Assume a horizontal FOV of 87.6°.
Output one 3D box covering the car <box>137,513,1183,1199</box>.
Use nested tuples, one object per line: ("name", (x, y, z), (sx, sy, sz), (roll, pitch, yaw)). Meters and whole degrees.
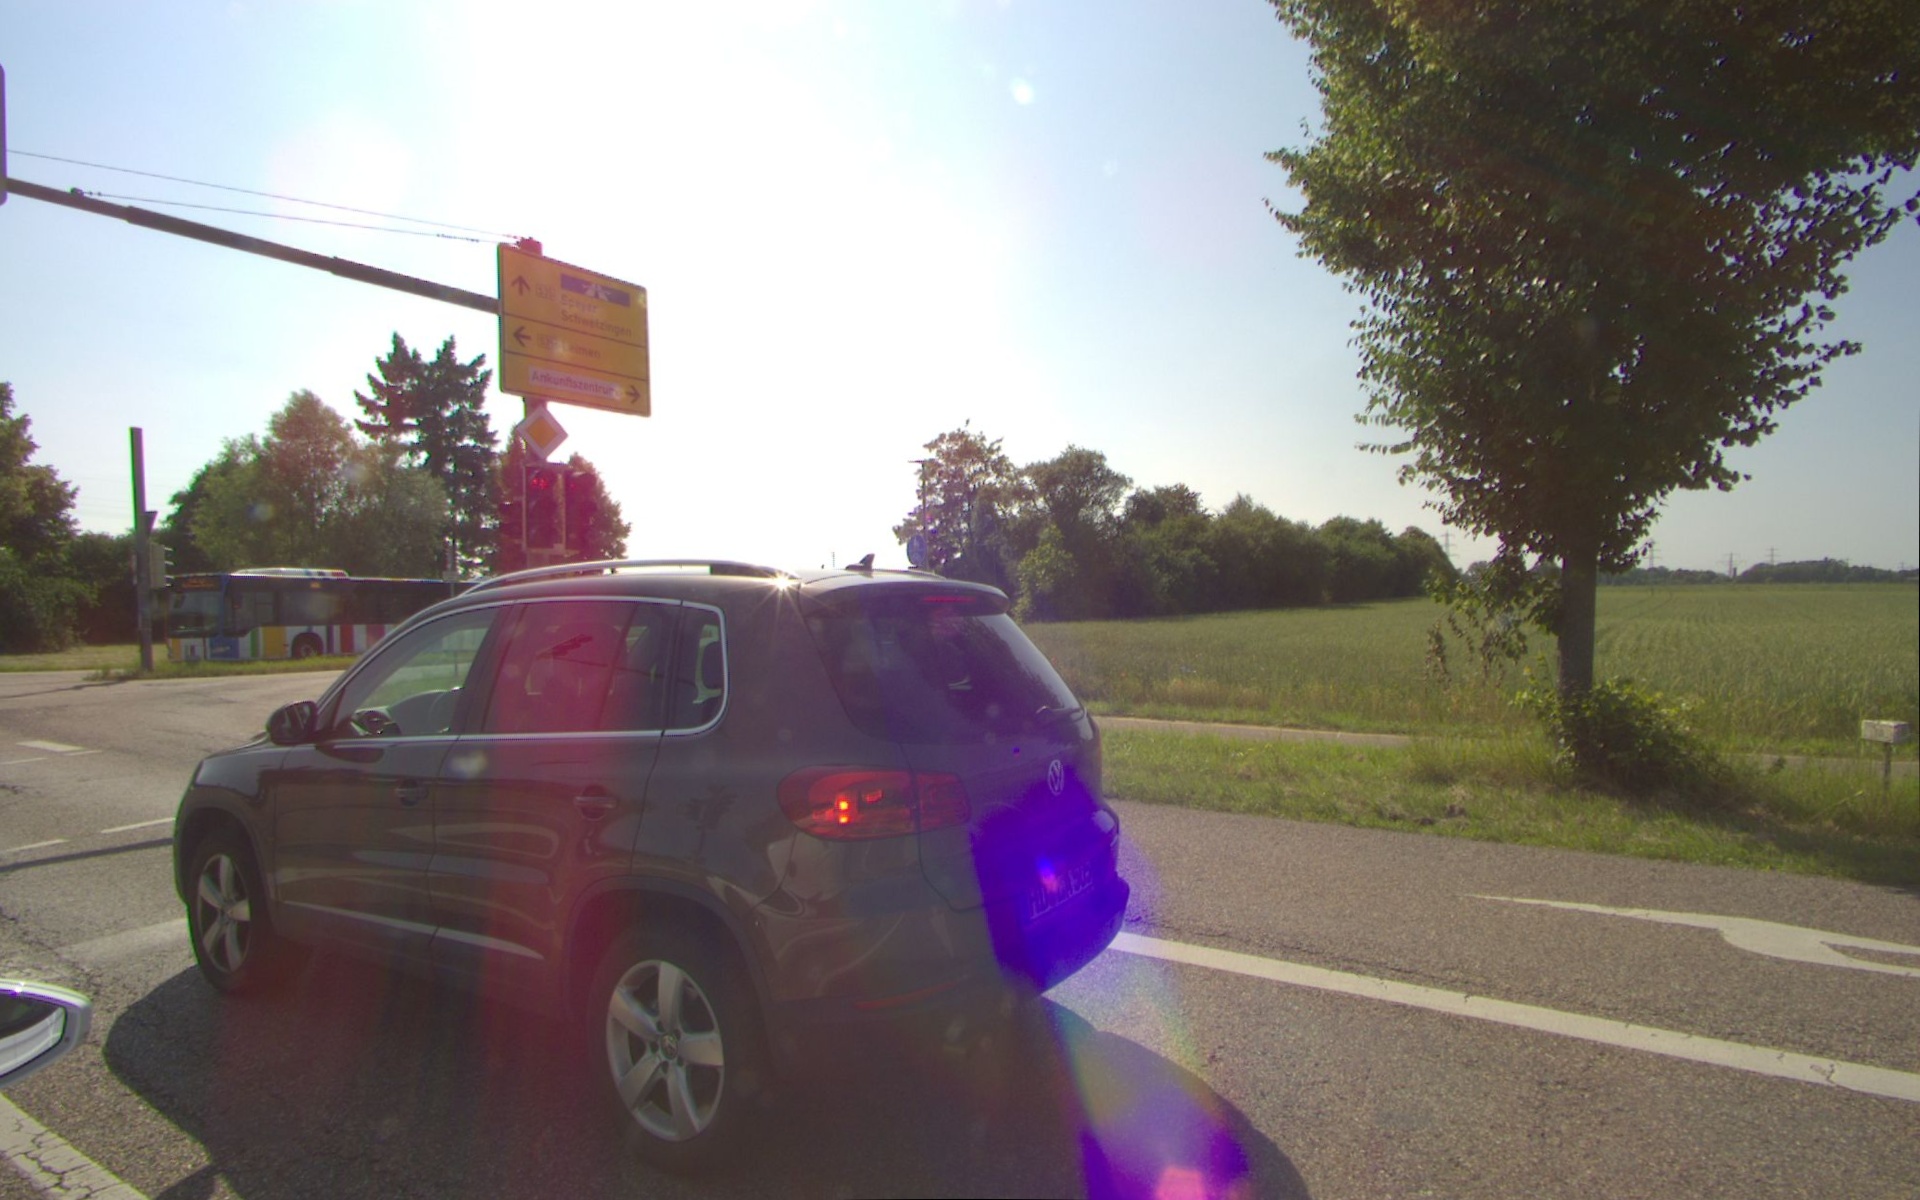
("car", (-1.366, 0.698, 4.006), (4.086, 1.677, 1.753), (-1, -1, 32))

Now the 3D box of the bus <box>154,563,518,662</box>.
("bus", (-21.193, 0.321, 35.563), (2.889, 2.916, 11.955), (-1, 1, 17))
